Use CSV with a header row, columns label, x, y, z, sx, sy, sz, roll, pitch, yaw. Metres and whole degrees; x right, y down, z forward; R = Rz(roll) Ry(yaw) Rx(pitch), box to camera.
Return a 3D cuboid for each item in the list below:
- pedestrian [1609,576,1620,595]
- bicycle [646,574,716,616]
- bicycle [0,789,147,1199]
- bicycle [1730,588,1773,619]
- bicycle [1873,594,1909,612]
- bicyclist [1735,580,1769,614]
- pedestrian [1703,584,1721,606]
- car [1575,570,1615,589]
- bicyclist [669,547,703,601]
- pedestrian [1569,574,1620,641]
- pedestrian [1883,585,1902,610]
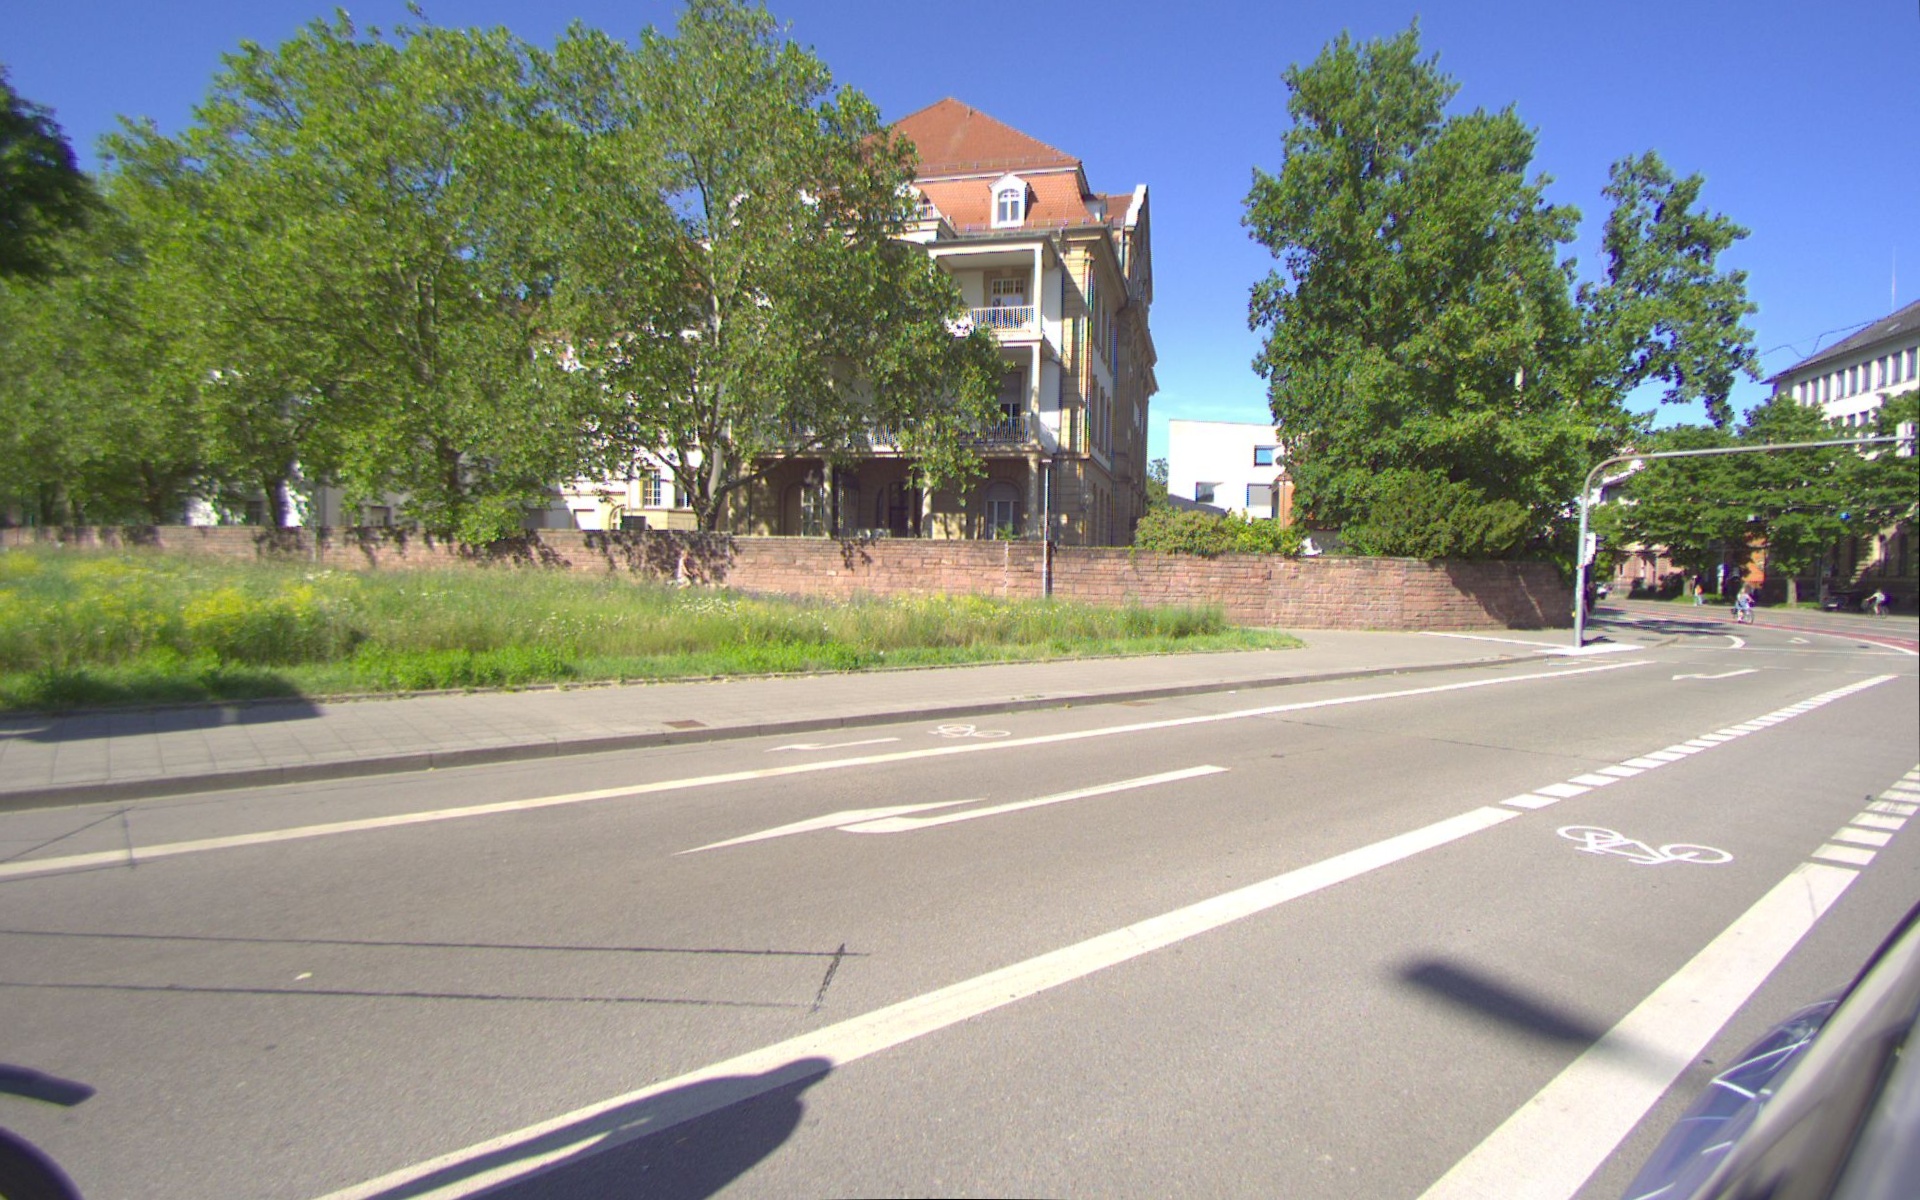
label,x,y,z,sx,sy,sz,roll,pitch,yaw
pedestrian,67.879,-1.502,105.000,0.748,1.836,0.973,1,-3,22
bicycle,-8.541,-0.138,31.003,1.858,1.083,0.721,6,-1,14
bicycle,-2.035,0.912,1.016,1.870,1.063,0.749,0,2,-42
bicycle,37.832,0.148,48.393,0.753,1.385,2.720,2,2,20
bicycle,55.508,0.158,60.374,0.591,1.019,1.982,0,1,9
bicyclist,37.846,-0.164,48.392,0.859,1.579,1.272,2,2,20
pedestrian,62.606,-0.432,84.256,0.745,1.835,0.978,1,1,9
car,59.400,-1.933,94.701,1.821,1.571,4.319,3,3,14
bicyclist,-8.386,-0.788,30.986,0.766,1.626,0.720,1,1,12
pedestrian,18.489,0.199,29.497,0.718,1.872,0.961,0,3,-37
pedestrian,55.485,-0.152,60.227,0.586,1.420,0.644,0,0,10
